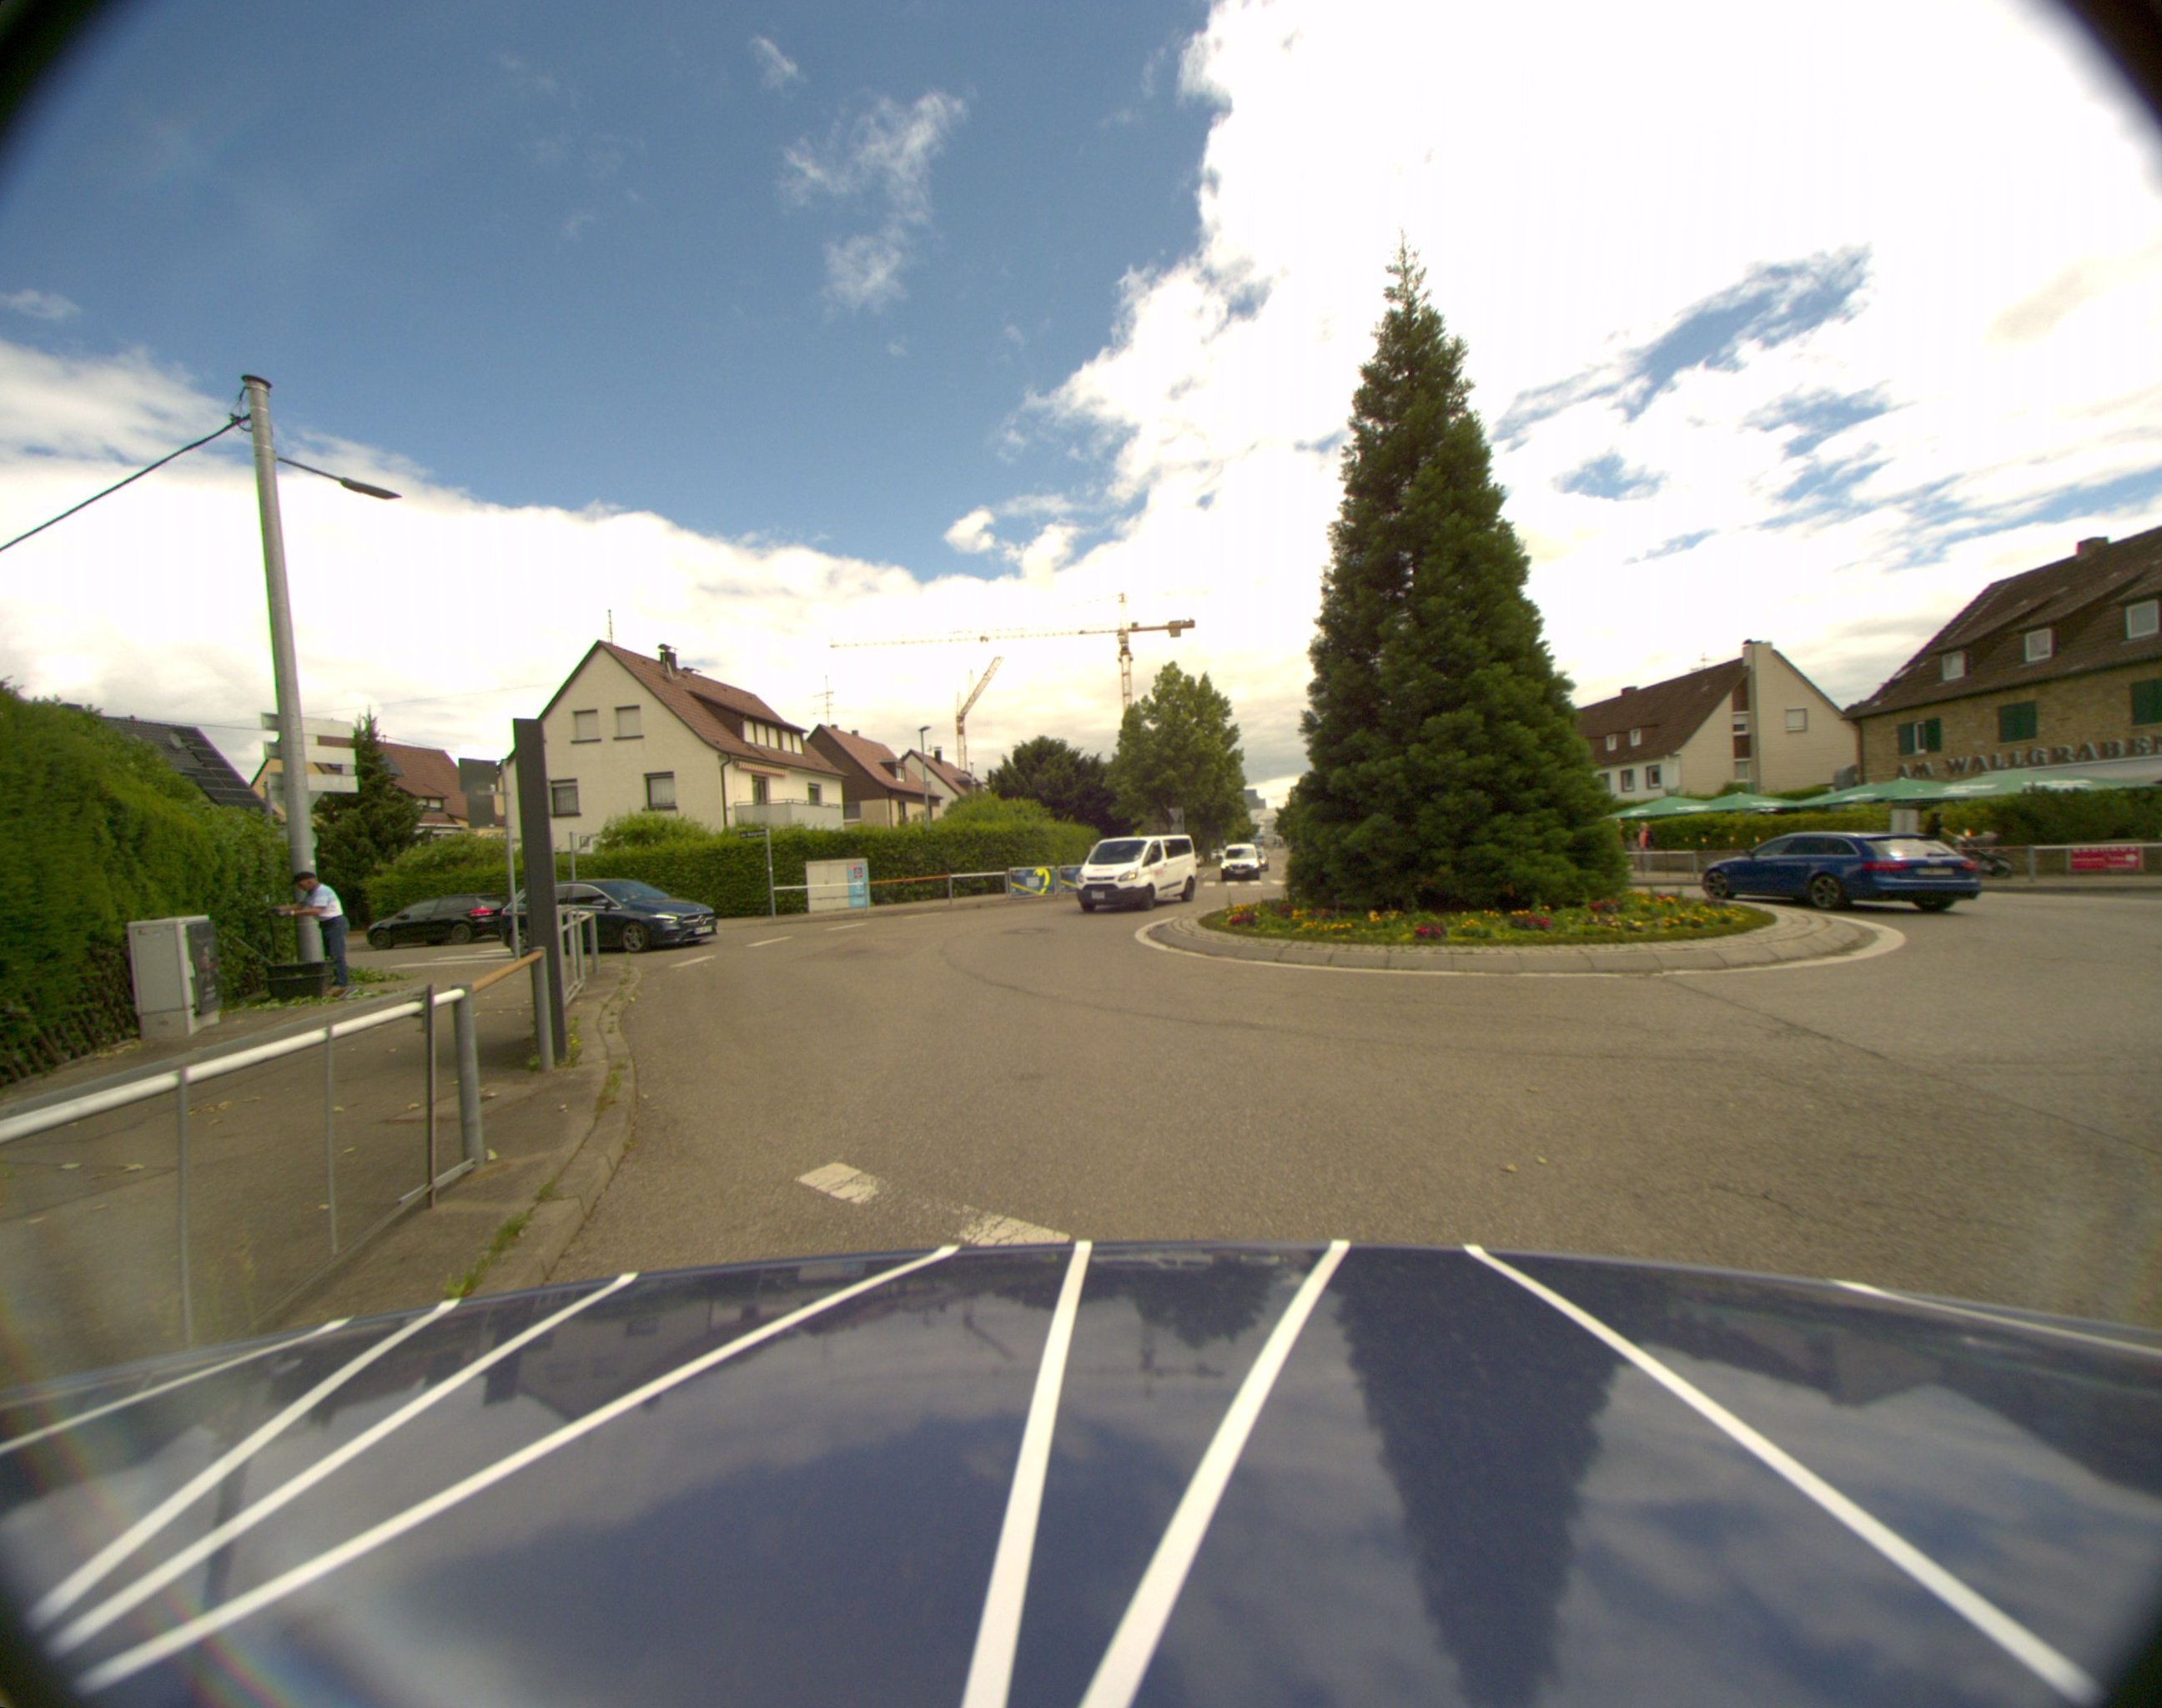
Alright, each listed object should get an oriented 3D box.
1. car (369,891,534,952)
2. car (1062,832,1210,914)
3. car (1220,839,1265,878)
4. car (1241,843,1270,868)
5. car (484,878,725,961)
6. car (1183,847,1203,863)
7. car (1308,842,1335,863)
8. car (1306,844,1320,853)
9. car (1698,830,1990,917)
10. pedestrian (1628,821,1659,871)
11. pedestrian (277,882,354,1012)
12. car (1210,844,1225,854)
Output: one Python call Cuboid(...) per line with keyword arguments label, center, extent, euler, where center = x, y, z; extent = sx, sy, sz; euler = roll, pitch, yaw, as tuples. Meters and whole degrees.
Cuboid(label="car", center=(-18.905, 2.010, 22.901), extent=(3.612, 1.446, 1.709), euler=(-4, 0, 6))
Cuboid(label="car", center=(1.714, 0.454, 21.642), extent=(1.995, 2.002, 5.059), euler=(-2, 1, 32))
Cuboid(label="car", center=(8.050, 0.194, 37.635), extent=(1.924, 1.744, 4.004), euler=(-3, 1, 14))
Cuboid(label="car", center=(12.056, 0.067, 52.457), extent=(1.777, 1.545, 4.004), euler=(-3, 1, 14))
Cuboid(label="car", center=(-9.965, 1.355, 15.970), extent=(4.313, 1.440, 1.585), euler=(-3, 0, 12))
Cuboid(label="car", center=(10.786, 0.054, 73.244), extent=(1.780, 1.446, 4.173), euler=(-2, 0, 7))
Cuboid(label="car", center=(17.970, -0.137, 56.966), extent=(1.803, 1.446, 4.697), euler=(-2, 0, 17))
Cuboid(label="car", center=(32.929, -0.840, 108.001), extent=(1.496, 1.159, 3.197), euler=(-3, 0, 11))
Cuboid(label="car", center=(14.210, 0.257, 14.601), extent=(1.612, 1.364, 4.508), euler=(-1, 2, 9))
Cuboid(label="pedestrian", center=(20.970, -0.289, 28.337), extent=(0.638, 1.816, 0.566), euler=(-4, 0, -7))
Cuboid(label="pedestrian", center=(-10.288, 1.217, 10.234), extent=(0.595, 1.647, 0.652), euler=(-4, 1, -40))
Cuboid(label="car", center=(19.690, -0.689, 109.466), extent=(1.809, 1.334, 4.004), euler=(-3, 0, 14))
